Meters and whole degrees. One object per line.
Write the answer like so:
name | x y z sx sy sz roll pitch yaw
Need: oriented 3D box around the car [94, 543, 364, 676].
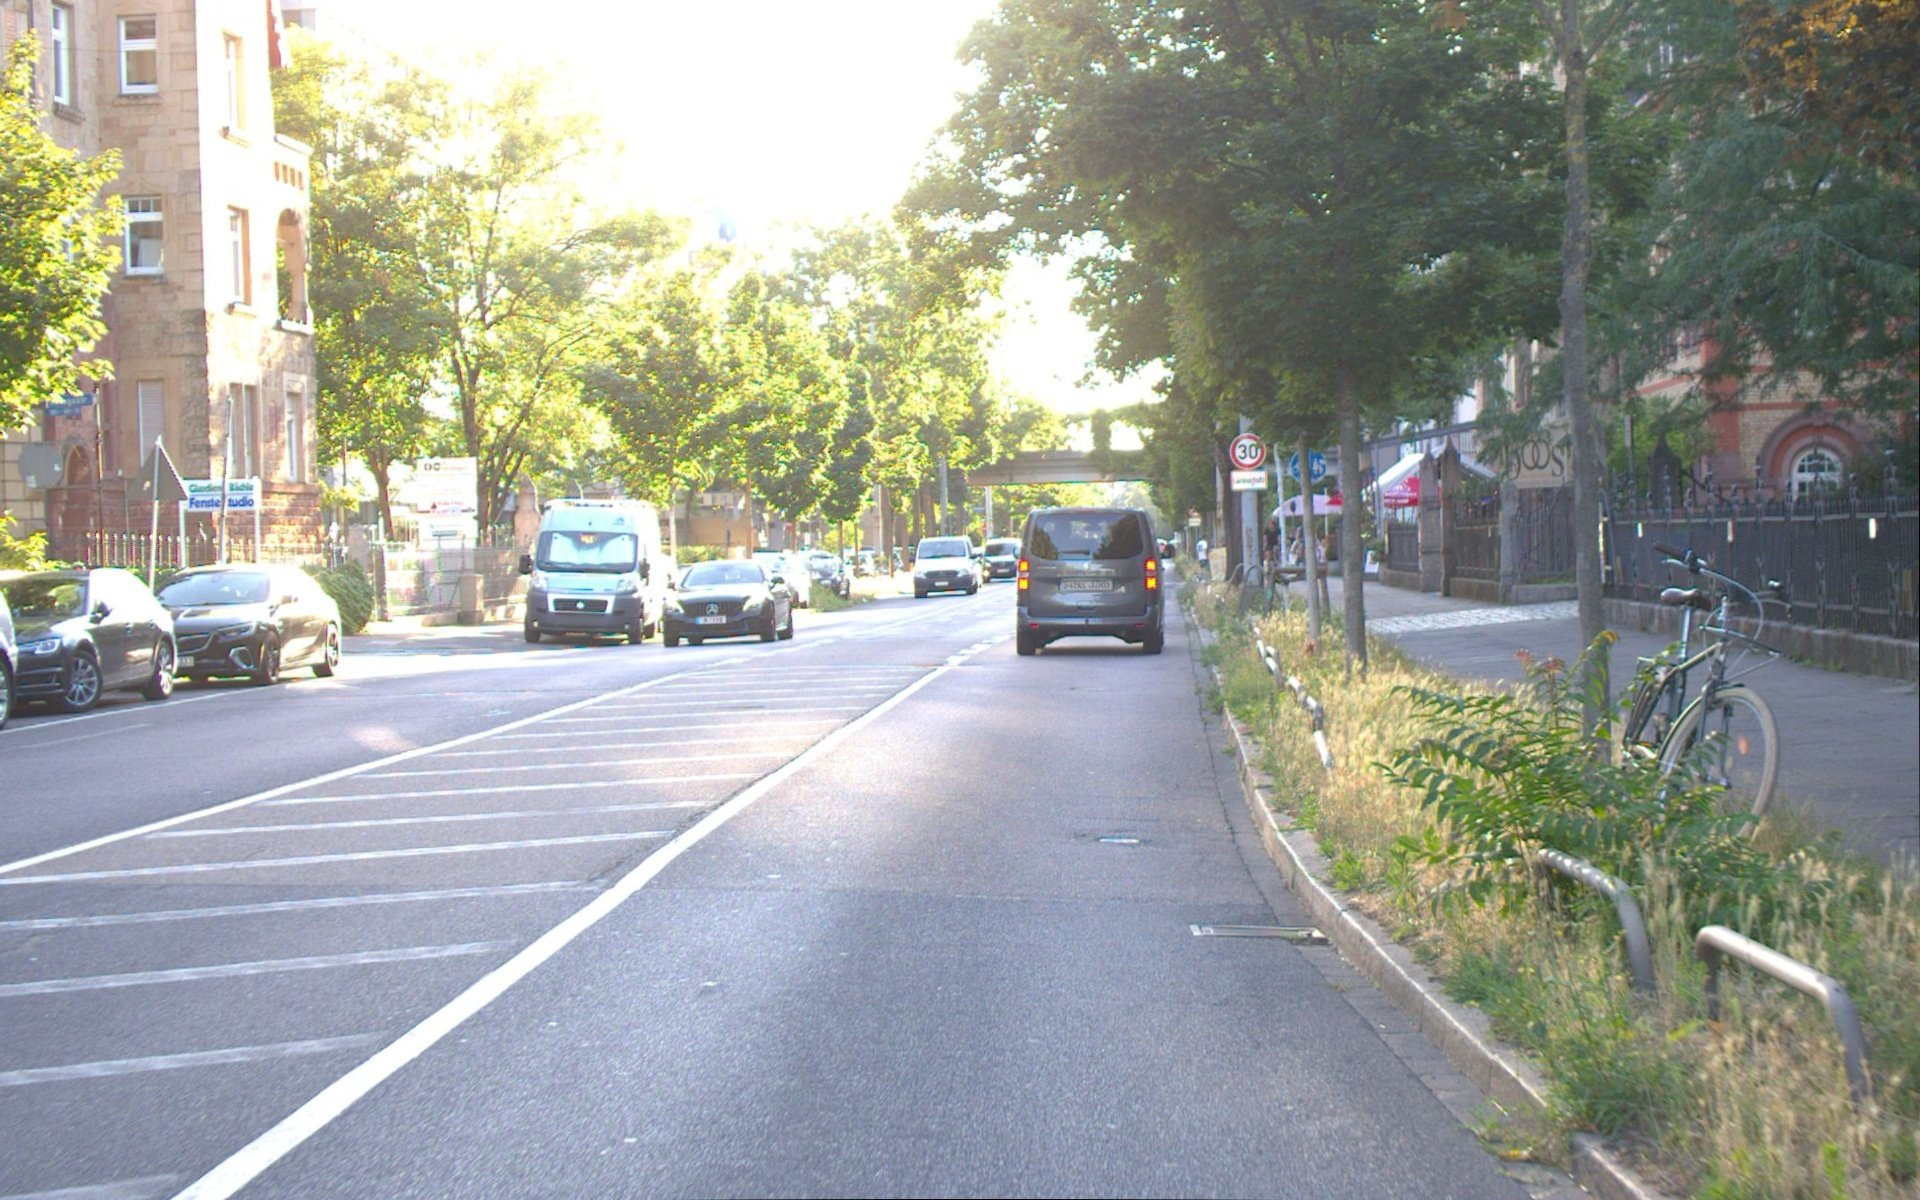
car | -8.793 0.072 41.803 1.994 1.478 4.829 -1 1 3

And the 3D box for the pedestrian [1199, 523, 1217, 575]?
pedestrian | 9.064 -1.858 125.760 0.504 1.882 0.545 1 1 -11

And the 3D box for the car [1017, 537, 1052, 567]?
car | 4.021 -2.616 185.520 1.679 1.525 4.000 -3 1 4

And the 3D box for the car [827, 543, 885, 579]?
car | -4.321 -1.641 143.170 1.994 1.409 4.236 1 1 4

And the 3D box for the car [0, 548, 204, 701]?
car | -9.338 0.211 35.652 1.736 1.440 4.625 -1 1 3

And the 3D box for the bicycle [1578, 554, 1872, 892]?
bicycle | 2.856 0.419 13.018 0.646 1.163 1.931 1 1 -1

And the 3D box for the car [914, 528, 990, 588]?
car | -0.231 -1.362 110.567 1.994 1.825 5.169 -2 1 4

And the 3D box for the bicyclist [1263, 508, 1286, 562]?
bicyclist | 9.015 -1.857 98.670 0.595 1.527 0.893 1 1 3

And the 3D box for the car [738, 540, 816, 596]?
car | -4.854 -0.867 91.665 1.697 1.446 4.000 1 1 2

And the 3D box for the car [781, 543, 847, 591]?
car | -4.401 -1.014 104.108 1.638 1.381 4.000 1 1 2

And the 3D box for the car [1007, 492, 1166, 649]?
car | 1.703 -0.415 45.095 1.888 1.918 3.839 -1 1 4

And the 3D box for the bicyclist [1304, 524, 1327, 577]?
bicyclist | 10.223 -1.428 98.927 0.595 1.527 0.893 1 1 3

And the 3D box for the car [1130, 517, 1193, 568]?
car | 6.707 -1.942 114.927 1.993 1.628 4.000 -1 1 2

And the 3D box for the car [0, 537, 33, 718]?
car | -9.700 0.305 29.760 1.866 1.639 4.571 -2 1 3

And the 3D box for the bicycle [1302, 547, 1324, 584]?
bicycle | 10.135 -1.003 98.851 0.517 1.036 2.089 1 1 3

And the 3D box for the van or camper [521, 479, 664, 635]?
van or camper | -6.607 -0.796 62.338 1.993 2.659 6.039 1 1 -1

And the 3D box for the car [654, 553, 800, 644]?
car | -3.843 -0.058 57.469 1.766 1.397 4.544 -1 1 4

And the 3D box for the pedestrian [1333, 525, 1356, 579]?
pedestrian | 11.684 -1.454 104.478 0.644 1.627 0.656 1 1 4

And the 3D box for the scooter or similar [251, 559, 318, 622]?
scooter or similar | -11.654 -0.165 59.314 1.115 1.053 0.288 -3 1 -44

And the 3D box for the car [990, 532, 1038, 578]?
car | 2.293 -1.890 144.744 1.833 1.846 4.474 -2 1 3
